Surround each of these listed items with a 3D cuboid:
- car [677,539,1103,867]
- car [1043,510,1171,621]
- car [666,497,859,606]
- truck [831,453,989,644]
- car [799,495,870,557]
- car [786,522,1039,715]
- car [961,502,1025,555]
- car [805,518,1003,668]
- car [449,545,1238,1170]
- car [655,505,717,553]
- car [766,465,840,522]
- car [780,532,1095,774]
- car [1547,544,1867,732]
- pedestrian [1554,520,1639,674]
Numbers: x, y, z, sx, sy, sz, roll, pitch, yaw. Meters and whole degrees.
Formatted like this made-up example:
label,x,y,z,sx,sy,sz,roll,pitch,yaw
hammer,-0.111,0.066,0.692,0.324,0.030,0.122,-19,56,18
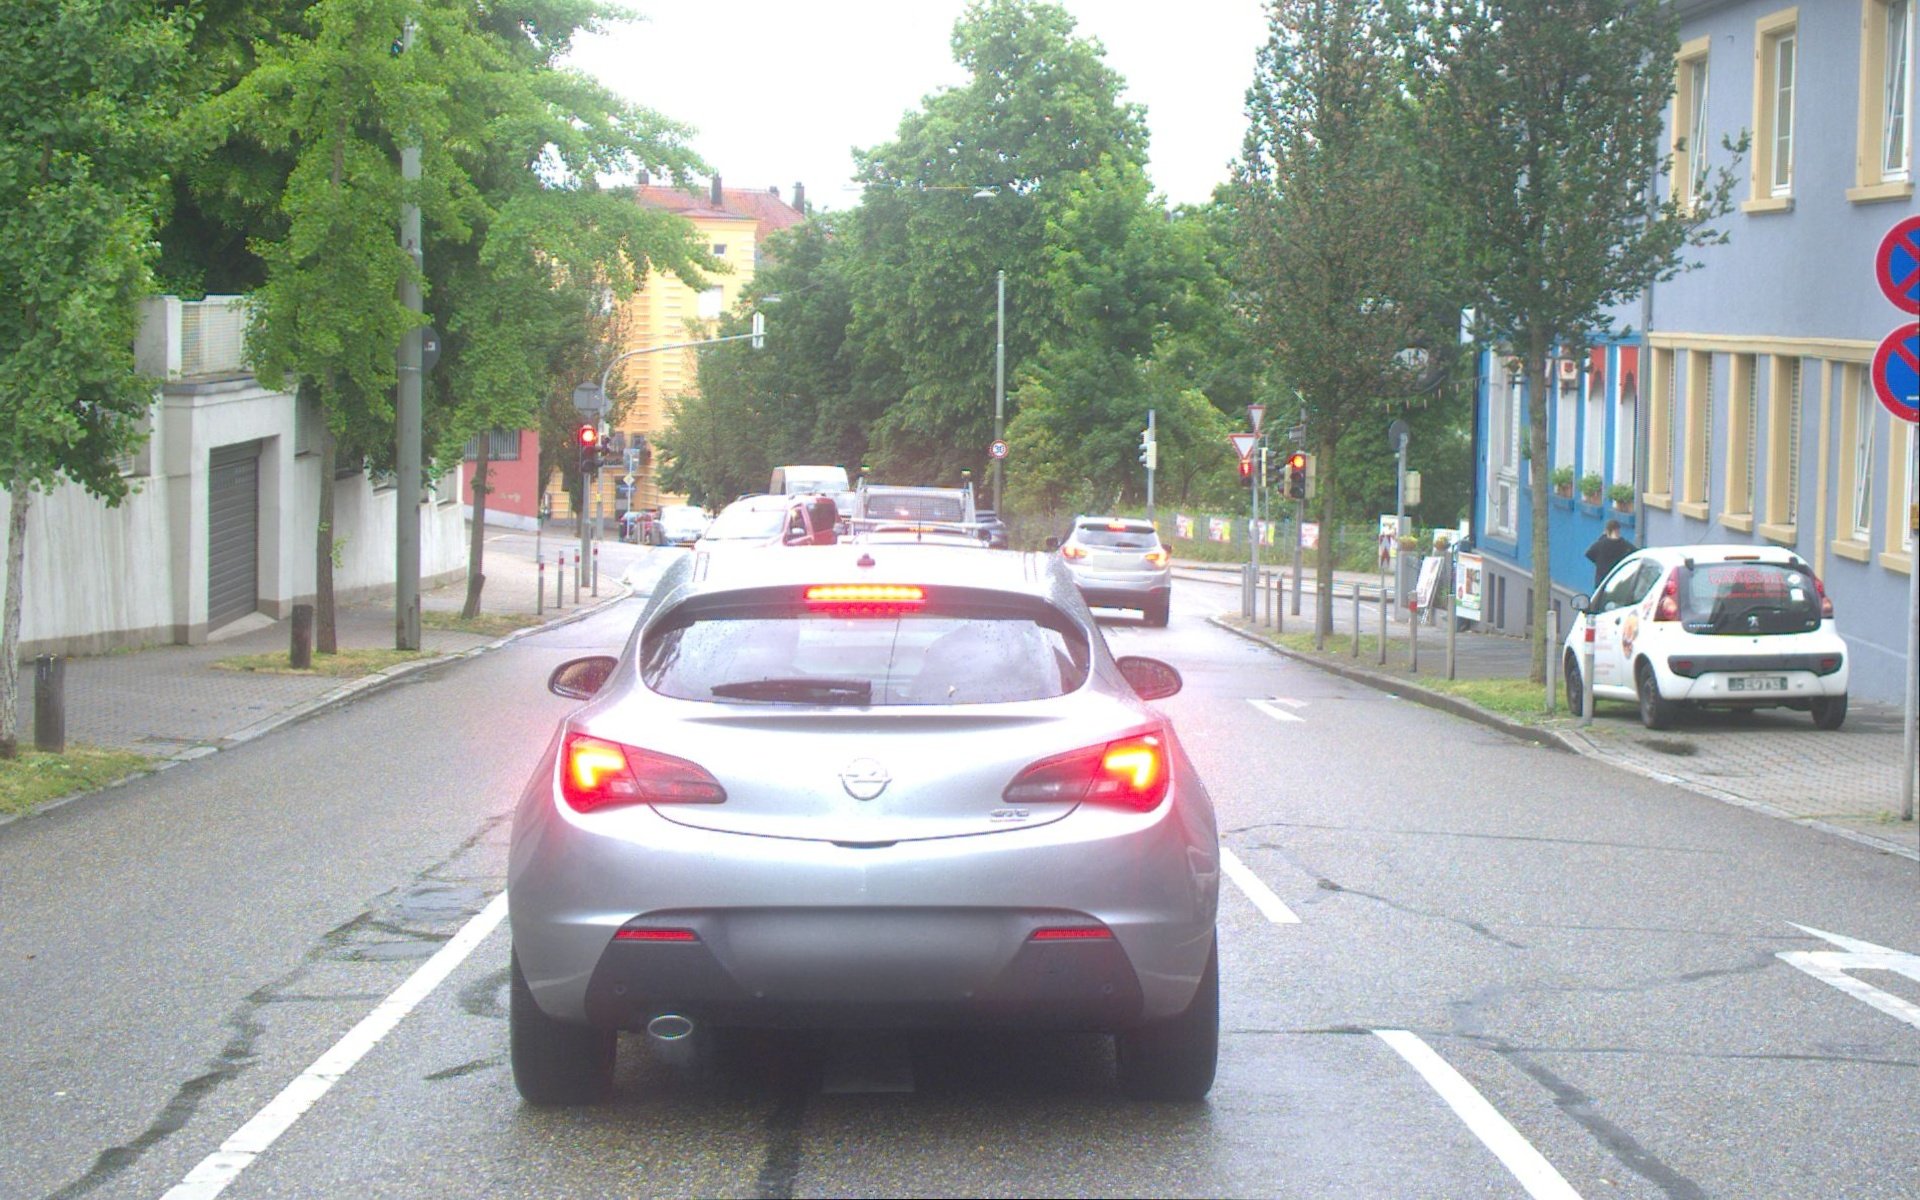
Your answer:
label,x,y,z,sx,sy,sz,roll,pitch,yaw
car,-0.394,0.451,18.416,1.962,1.443,4.306,2,1,-2
car,2.330,-0.578,55.201,1.722,1.708,3.880,0,1,-2
car,-3.413,-0.854,60.362,1.748,1.822,4.454,0,1,20
truck,-0.725,-0.734,47.165,1.962,2.420,4.936,2,1,-2
car,-3.376,-1.993,92.674,1.870,1.632,3.880,0,1,-2
car,-0.438,0.098,29.515,1.962,1.443,4.306,2,1,-2
car,1.020,-2.268,108.967,1.722,1.632,3.880,0,1,-4
car,-0.635,-0.119,37.174,1.962,1.443,4.306,2,1,-2
car,-0.354,0.582,10.053,1.837,1.429,3.880,1,1,-2
car,-8.473,-2.203,106.499,1.722,1.455,3.880,0,1,-2
car,-4.612,-3.082,100.294,1.722,1.632,3.881,0,1,-9
car,-0.208,0.298,24.136,1.962,1.443,4.306,2,1,-2
car,6.162,0.265,28.776,1.722,1.443,3.880,0,1,-2
pedestrian,7.312,-0.043,39.540,0.783,1.723,0.651,2,1,0
